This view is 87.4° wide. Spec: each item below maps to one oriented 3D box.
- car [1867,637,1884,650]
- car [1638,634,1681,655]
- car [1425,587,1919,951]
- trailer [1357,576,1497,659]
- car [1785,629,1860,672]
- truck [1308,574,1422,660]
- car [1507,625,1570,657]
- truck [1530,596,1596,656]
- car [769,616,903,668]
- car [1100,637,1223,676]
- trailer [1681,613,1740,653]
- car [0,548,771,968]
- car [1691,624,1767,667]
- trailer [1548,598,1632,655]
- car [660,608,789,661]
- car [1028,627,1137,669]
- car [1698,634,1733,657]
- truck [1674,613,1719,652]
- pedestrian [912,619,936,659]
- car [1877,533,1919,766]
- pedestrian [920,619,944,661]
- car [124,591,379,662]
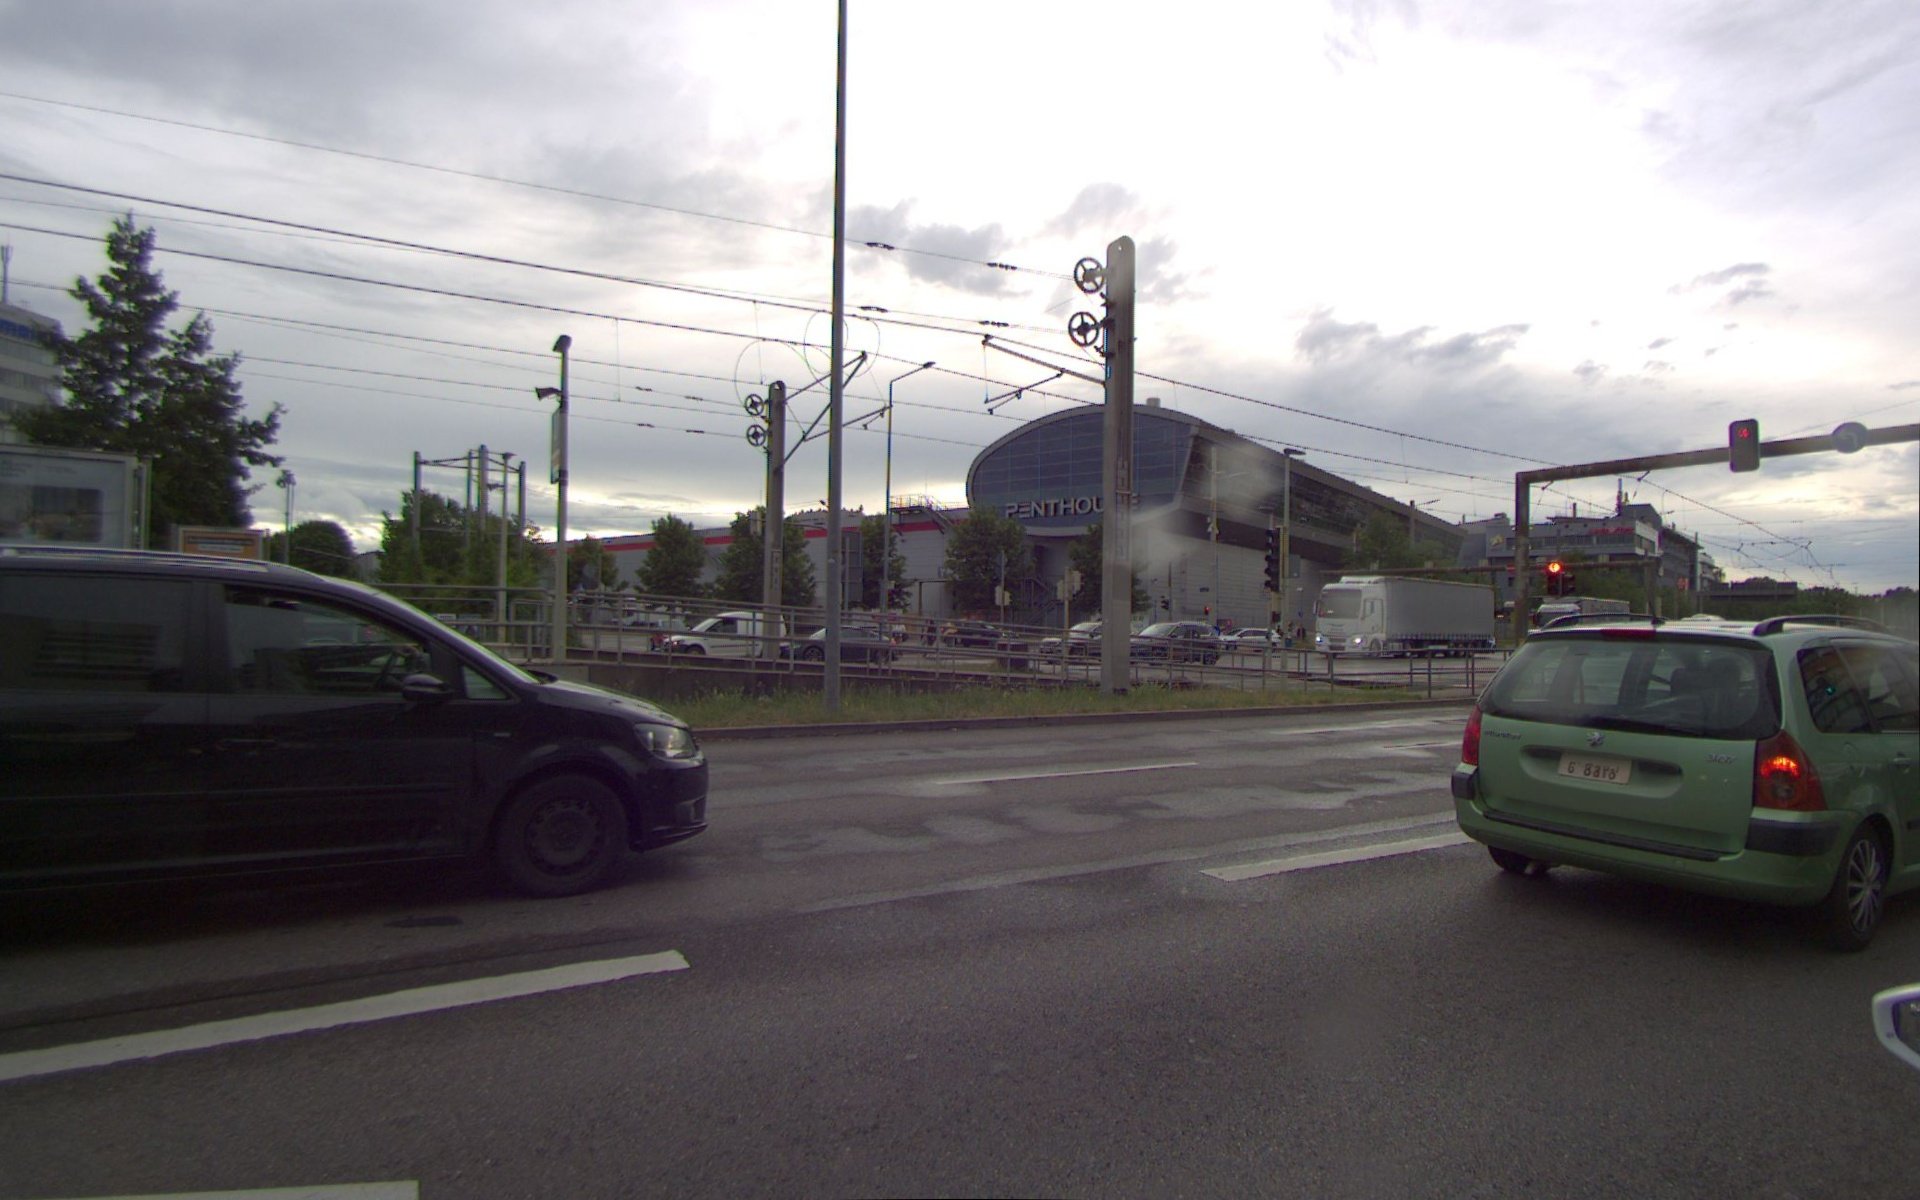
[{"bbox_3d":[151.300,7.184,166.004,1.754,2.040,4.320,3,0,45],"label":"car"},{"bbox_3d":[55.489,3.520,79.651,4.533,1.576,1.885,2,0,-43],"label":"car"},{"bbox_3d":[4.914,0.781,6.029,4.354,1.488,1.686,3,0,-31],"label":"car"},{"bbox_3d":[25.800,1.040,55.060,11.357,4.161,2.769,2,-2,-42],"label":"trailer"},{"bbox_3d":[44.477,2.596,51.775,4.302,2.040,1.762,1,1,-34],"label":"car"},{"bbox_3d":[20.252,0.893,50.111,5.937,4.049,2.809,2,-1,-40],"label":"truck"},{"bbox_3d":[32.825,2.337,56.977,4.065,1.674,1.870,3,0,-42],"label":"car"},{"bbox_3d":[44.236,1.944,73.599,6.144,4.184,2.641,3,-3,-44],"label":"truck"},{"bbox_3d":[-4.043,1.383,32.987,3.956,1.522,1.777,3,0,-32],"label":"car"},{"bbox_3d":[7.430,2.079,36.864,4.369,1.281,1.896,3,0,-34],"label":"car"},{"bbox_3d":[78.652,3.510,105.163,11.144,3.905,2.701,3,-3,-42],"label":"trailer"},{"bbox_3d":[-3.241,0.620,5.081,4.142,1.613,1.719,2,0,-30],"label":"car"},{"bbox_3d":[39.564,2.326,51.645,4.302,2.040,1.762,1,1,-34],"label":"car"},{"bbox_3d":[49.392,2.196,78.525,12.659,4.178,2.624,3,-3,-44],"label":"trailer"},{"bbox_3d":[-8.090,1.196,34.613,4.038,1.648,1.563,3,0,-32],"label":"car"},{"bbox_3d":[4.773,1.869,38.808,4.114,1.481,1.726,3,0,-37],"label":"car"},{"bbox_3d":[72.242,4.307,96.046,4.876,1.862,1.973,0,2,-45],"label":"car"},{"bbox_3d":[74.197,3.312,101.174,5.374,3.855,2.720,3,-4,-43],"label":"truck"},{"bbox_3d":[-1.575,1.697,43.596,0.731,1.685,0.721,3,0,-33],"label":"pedestrian"},{"bbox_3d":[12.098,0.616,10.751,4.859,2.324,2.428,3,0,-36],"label":"car"},{"bbox_3d":[-1.192,1.703,42.680,0.731,1.728,0.721,3,0,-33],"label":"pedestrian"},{"bbox_3d":[-17.008,0.668,24.480,4.874,1.517,1.669,3,0,-30],"label":"car"}]
